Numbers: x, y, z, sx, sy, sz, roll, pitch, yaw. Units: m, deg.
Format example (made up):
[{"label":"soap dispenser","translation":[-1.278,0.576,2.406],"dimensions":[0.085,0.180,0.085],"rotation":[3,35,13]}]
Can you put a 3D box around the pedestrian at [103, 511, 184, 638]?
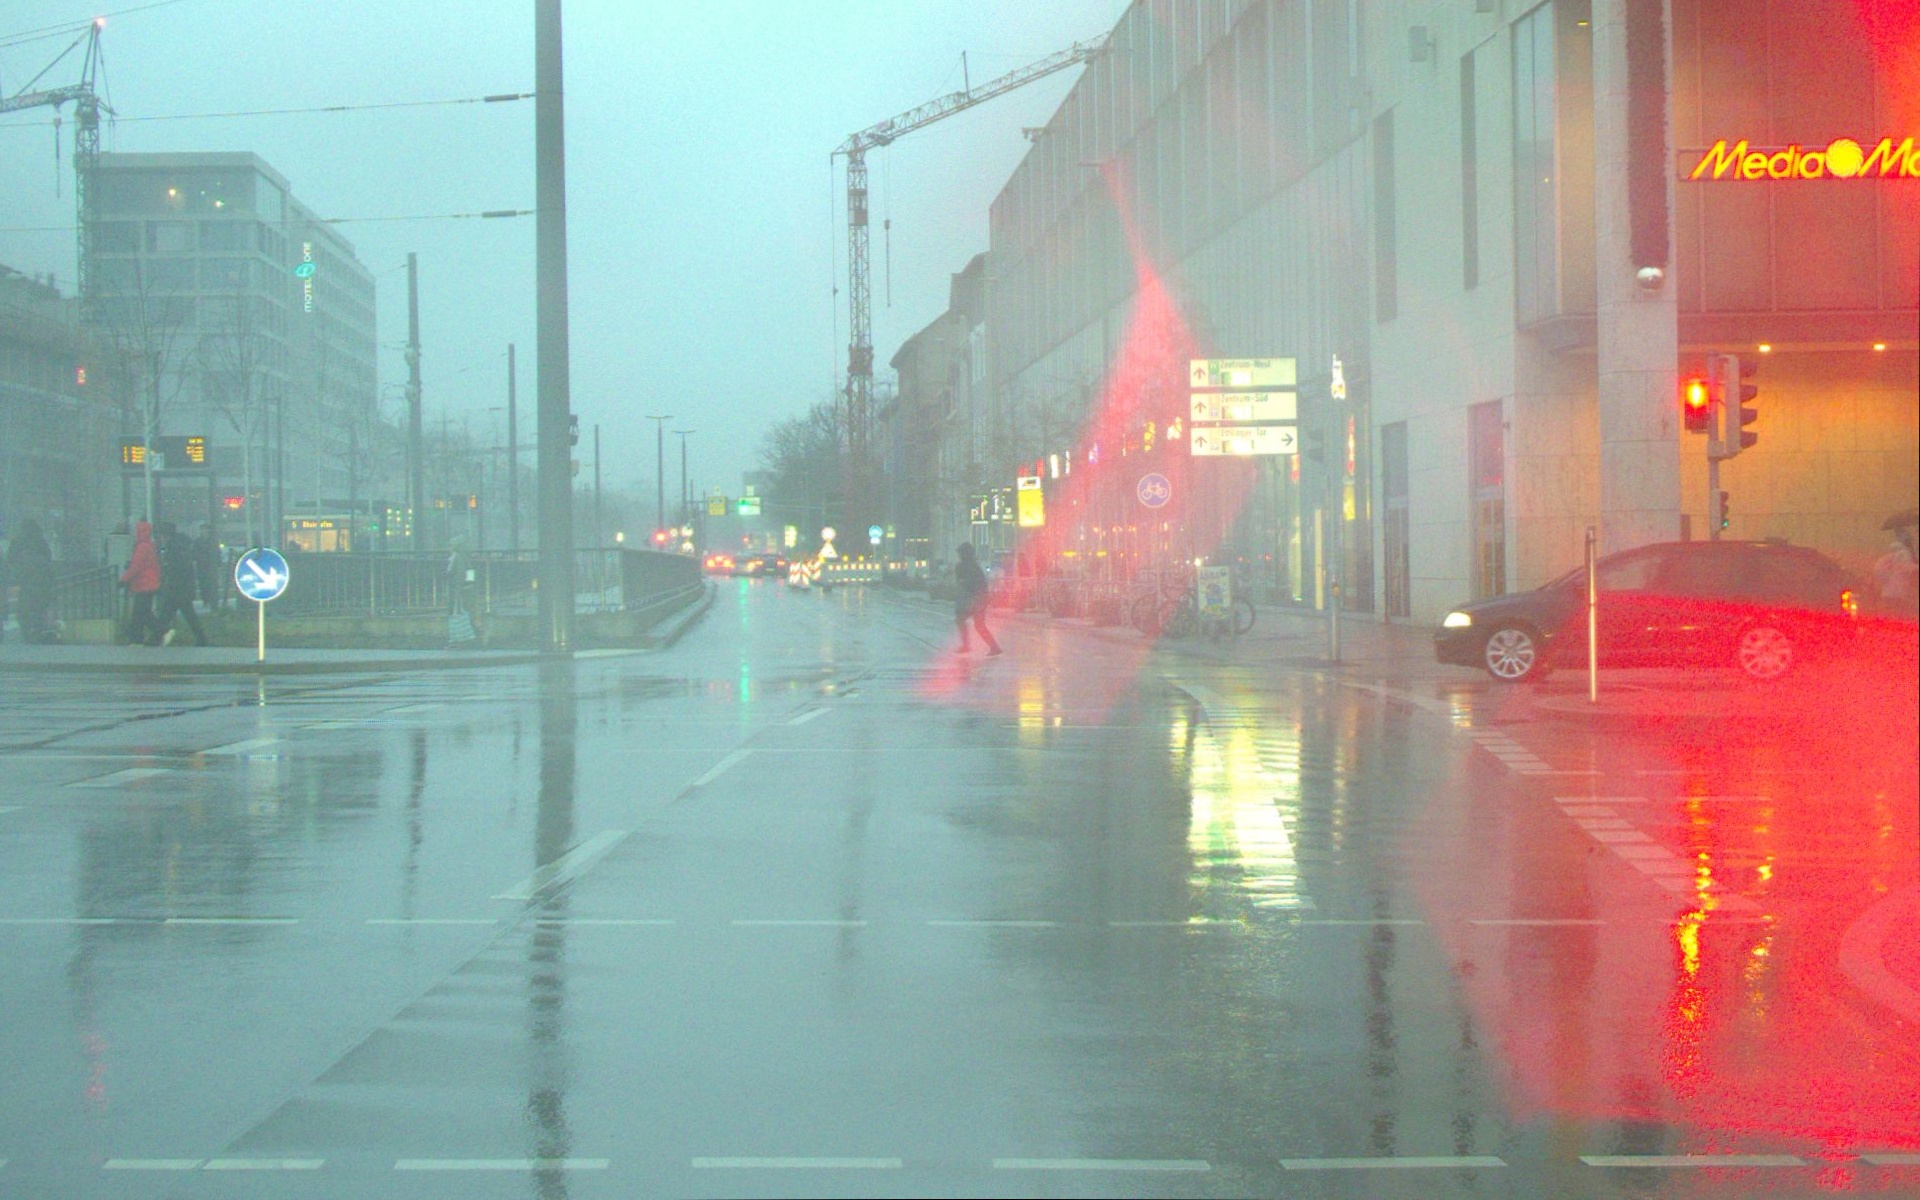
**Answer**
[{"label":"pedestrian","translation":[-10.922,-0.343,45.992],"dimensions":[0.832,1.673,0.618],"rotation":[-1,1,27]}]

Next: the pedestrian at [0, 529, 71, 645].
[{"label":"pedestrian","translation":[-12.988,-0.180,48.178],"dimensions":[0.743,1.602,0.812],"rotation":[-1,1,-36]}]

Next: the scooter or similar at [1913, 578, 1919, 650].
[{"label":"scooter or similar","translation":[13.754,0.189,48.056],"dimensions":[0.741,0.990,0.400],"rotation":[-1,1,1]}]

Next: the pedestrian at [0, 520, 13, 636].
[{"label":"pedestrian","translation":[-13.610,-0.303,47.823],"dimensions":[0.611,1.613,0.709],"rotation":[-1,1,-33]}]

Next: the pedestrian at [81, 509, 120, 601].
[{"label":"pedestrian","translation":[-16.495,-0.862,65.976],"dimensions":[0.611,1.740,0.621],"rotation":[-1,1,-6]}]

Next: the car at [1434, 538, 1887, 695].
[{"label":"car","translation":[7.356,0.171,36.072],"dimensions":[4.539,1.568,1.795],"rotation":[-1,1,15]}]

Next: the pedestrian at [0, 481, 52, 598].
[{"label":"pedestrian","translation":[-14.011,-0.905,51.583],"dimensions":[0.619,1.740,0.613],"rotation":[-1,1,-6]}]

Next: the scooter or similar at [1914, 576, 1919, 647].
[{"label":"scooter or similar","translation":[13.779,0.152,48.104],"dimensions":[0.741,0.990,0.400],"rotation":[-1,1,0]}]

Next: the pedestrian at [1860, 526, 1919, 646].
[{"label":"pedestrian","translation":[13.026,-0.201,48.098],"dimensions":[0.741,1.661,0.400],"rotation":[-1,1,0]}]

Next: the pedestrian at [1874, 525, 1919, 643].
[{"label":"pedestrian","translation":[13.715,-0.232,50.235],"dimensions":[0.536,1.712,0.501],"rotation":[0,1,37]}]

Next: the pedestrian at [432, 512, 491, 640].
[{"label":"pedestrian","translation":[-6.900,-0.333,47.643],"dimensions":[0.703,1.754,0.652],"rotation":[-1,1,-1]}]

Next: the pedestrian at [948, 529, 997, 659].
[{"label":"pedestrian","translation":[0.169,-0.084,47.309],"dimensions":[0.633,1.766,0.484],"rotation":[-1,1,-2]}]

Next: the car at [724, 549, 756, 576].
[{"label":"car","translation":[-14.689,-2.507,229.615],"dimensions":[1.888,1.777,3.714],"rotation":[1,0,-1]}]

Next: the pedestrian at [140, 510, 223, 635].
[{"label":"pedestrian","translation":[-10.555,-0.376,46.621],"dimensions":[0.844,1.682,0.676],"rotation":[-1,1,22]}]

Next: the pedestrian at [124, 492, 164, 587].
[{"label":"pedestrian","translation":[-15.106,-1.123,63.641],"dimensions":[0.660,1.740,0.736],"rotation":[-1,1,-11]}]
